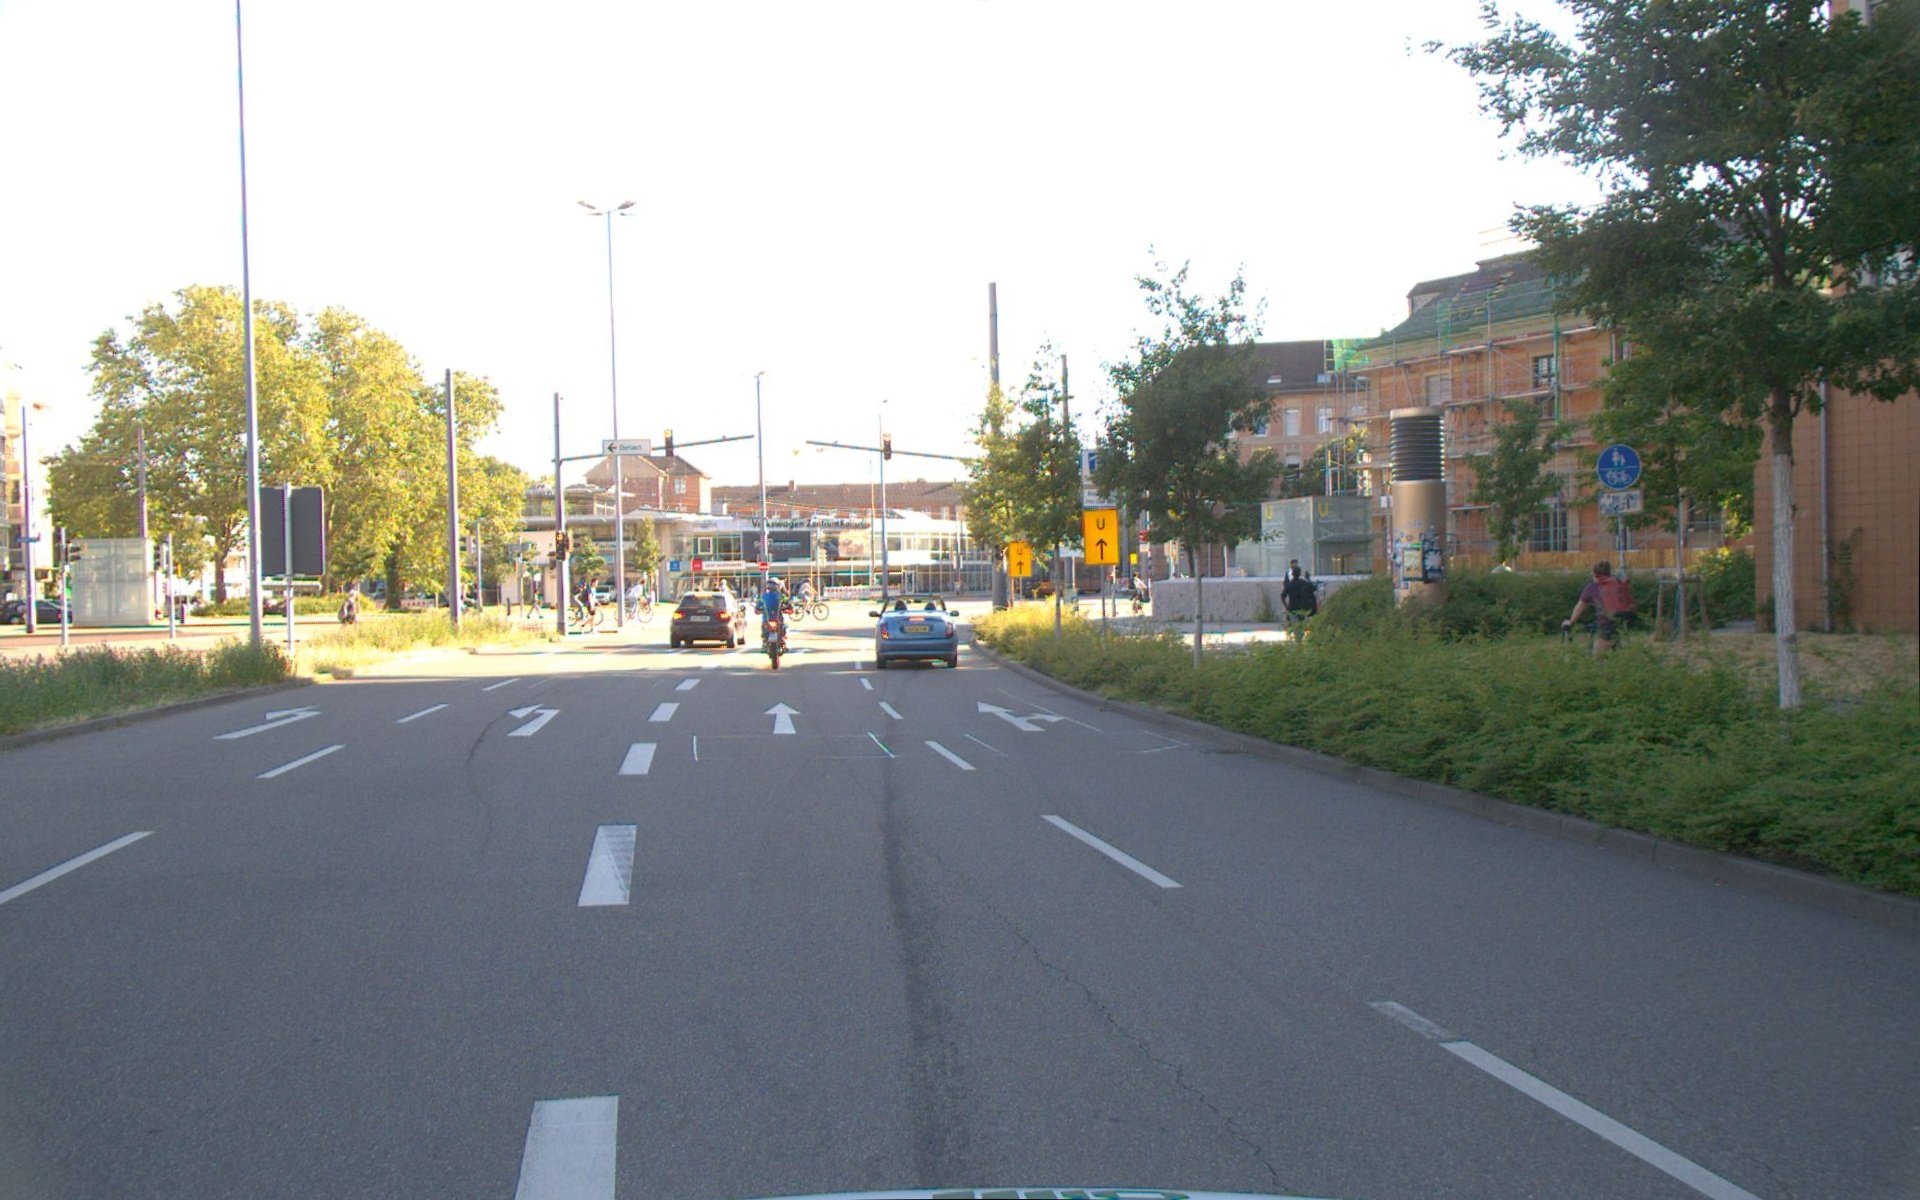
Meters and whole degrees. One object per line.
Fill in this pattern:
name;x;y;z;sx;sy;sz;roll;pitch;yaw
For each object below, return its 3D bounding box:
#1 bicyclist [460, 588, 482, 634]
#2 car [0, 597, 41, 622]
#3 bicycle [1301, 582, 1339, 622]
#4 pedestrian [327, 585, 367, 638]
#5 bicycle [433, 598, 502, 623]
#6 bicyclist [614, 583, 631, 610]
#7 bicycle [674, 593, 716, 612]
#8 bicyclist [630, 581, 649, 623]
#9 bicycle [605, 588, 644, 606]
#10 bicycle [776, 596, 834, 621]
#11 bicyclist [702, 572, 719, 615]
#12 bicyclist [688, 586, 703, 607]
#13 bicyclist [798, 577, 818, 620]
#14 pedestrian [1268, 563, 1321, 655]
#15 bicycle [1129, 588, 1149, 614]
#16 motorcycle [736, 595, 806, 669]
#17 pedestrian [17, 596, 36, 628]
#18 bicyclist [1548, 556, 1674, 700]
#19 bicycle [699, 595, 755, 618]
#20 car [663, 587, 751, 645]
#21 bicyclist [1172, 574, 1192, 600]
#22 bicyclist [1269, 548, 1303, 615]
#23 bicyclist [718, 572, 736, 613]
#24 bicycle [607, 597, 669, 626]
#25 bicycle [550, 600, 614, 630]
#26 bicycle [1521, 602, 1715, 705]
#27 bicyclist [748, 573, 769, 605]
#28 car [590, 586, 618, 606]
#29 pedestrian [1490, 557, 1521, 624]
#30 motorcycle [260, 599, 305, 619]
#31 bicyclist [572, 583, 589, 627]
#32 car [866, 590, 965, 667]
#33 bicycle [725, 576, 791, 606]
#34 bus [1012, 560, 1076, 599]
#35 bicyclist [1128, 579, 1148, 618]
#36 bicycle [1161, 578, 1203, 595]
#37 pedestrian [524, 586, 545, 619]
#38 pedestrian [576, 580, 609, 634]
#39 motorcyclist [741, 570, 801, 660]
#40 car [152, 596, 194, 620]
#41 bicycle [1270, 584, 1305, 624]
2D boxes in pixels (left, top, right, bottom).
bicyclist;-18.701;0.405;63.254;0.735;1.720;0.854;-1;2;-22
car;-57.880;0.566;99.867;3.934;1.447;1.800;-1;0;-24
bicycle;10.123;0.039;46.420;0.614;1.057;1.962;-3;0;24
pedestrian;-19.685;0.360;53.133;1.073;1.634;0.697;-1;2;-12
bicycle;-18.815;0.402;63.210;2.459;0.889;0.854;-1;2;-23
bicyclist;-20.149;-0.208;98.682;0.908;1.586;0.857;-1;2;-15
bicycle;-15.535;0.137;97.023;2.263;0.976;0.855;-2;3;-21
bicyclist;-13.387;0.064;69.103;0.639;1.720;0.856;-1;2;-19
bicycle;-20.043;-0.173;98.703;2.257;0.996;0.857;-1;2;-15
bicycle;-6.363;0.346;68.007;2.259;0.921;0.856;-1;2;-17
bicyclist;-10.565;-0.276;70.081;0.573;1.809;0.863;-1;0;-16
bicyclist;-15.524;-0.194;97.025;0.702;1.162;0.833;-1;2;-20
bicyclist;-6.251;-0.066;68.025;0.639;1.720;0.856;-1;2;-16
pedestrian;6.288;0.170;31.128;0.789;1.687;0.790;-1;0;-1
bicycle;7.657;0.039;70.768;0.772;1.057;1.964;-3;0;7
motorcycle;-3.714;0.597;32.734;1.073;1.401;2.653;0;0;0
pedestrian;-51.602;0.656;91.423;0.764;1.705;0.779;-1;0;-18
bicyclist;6.576;0.283;16.752;0.707;1.409;1.072;0;-1;-12
bicycle;-9.889;0.276;70.266;2.259;0.921;0.856;-1;2;-17
car;-6.646;0.387;43.871;1.764;1.469;3.978;0;0;-1
bicyclist;13.813;-0.801;103.069;0.909;1.587;0.959;-1;0;-16
bicyclist;9.113;-0.505;46.248;0.770;1.817;0.894;-3;0;7
bicyclist;-9.900;-0.320;70.242;0.639;1.720;0.856;-1;2;-16
bicycle;-13.461;0.478;69.087;2.455;1.153;0.855;-1;2;-19
bicycle;-15.145;0.595;66.293;2.450;1.153;0.857;-1;2;-13
bicycle;6.585;0.518;16.709;0.707;0.969;2.243;0;-1;-12
bicyclist;-12.419;-0.669;101.907;1.054;1.933;1.117;-1;2;-19
car;-30.881;-0.365;143.430;1.955;1.561;3.995;0;2;-7
pedestrian;13.897;-0.241;42.157;0.708;1.687;0.718;1;0;18
motorcycle;-38.095;0.498;93.057;2.246;1.072;0.685;-1;2;-15
bicyclist;-15.202;0.183;66.263;0.638;1.720;0.858;-1;2;-12
car;-0.858;0.542;33.929;1.763;1.469;3.980;0;0;2
bicycle;-12.435;-0.565;101.877;3.927;1.719;1.133;-1;2;-20
bus;6.753;-1.647;131.716;2.305;2.933;9.580;-1;1;20
bicyclist;7.618;-0.056;70.707;0.772;1.621;0.948;-3;0;7
bicycle;13.815;-0.824;103.063;2.399;1.021;0.959;-1;0;-17
pedestrian;-24.430;0.126;95.059;0.969;1.847;0.920;0;2;-3
pedestrian;-11.906;0.219;53.569;0.821;1.701;0.688;-1;0;-40
motorcyclist;-3.726;0.292;32.702;1.073;1.751;0.936;0;0;0
car;-49.761;0.506;104.615;1.817;1.477;3.981;-1;1;-17
bicycle;9.153;0.102;46.293;0.772;1.057;1.964;-3;0;7
